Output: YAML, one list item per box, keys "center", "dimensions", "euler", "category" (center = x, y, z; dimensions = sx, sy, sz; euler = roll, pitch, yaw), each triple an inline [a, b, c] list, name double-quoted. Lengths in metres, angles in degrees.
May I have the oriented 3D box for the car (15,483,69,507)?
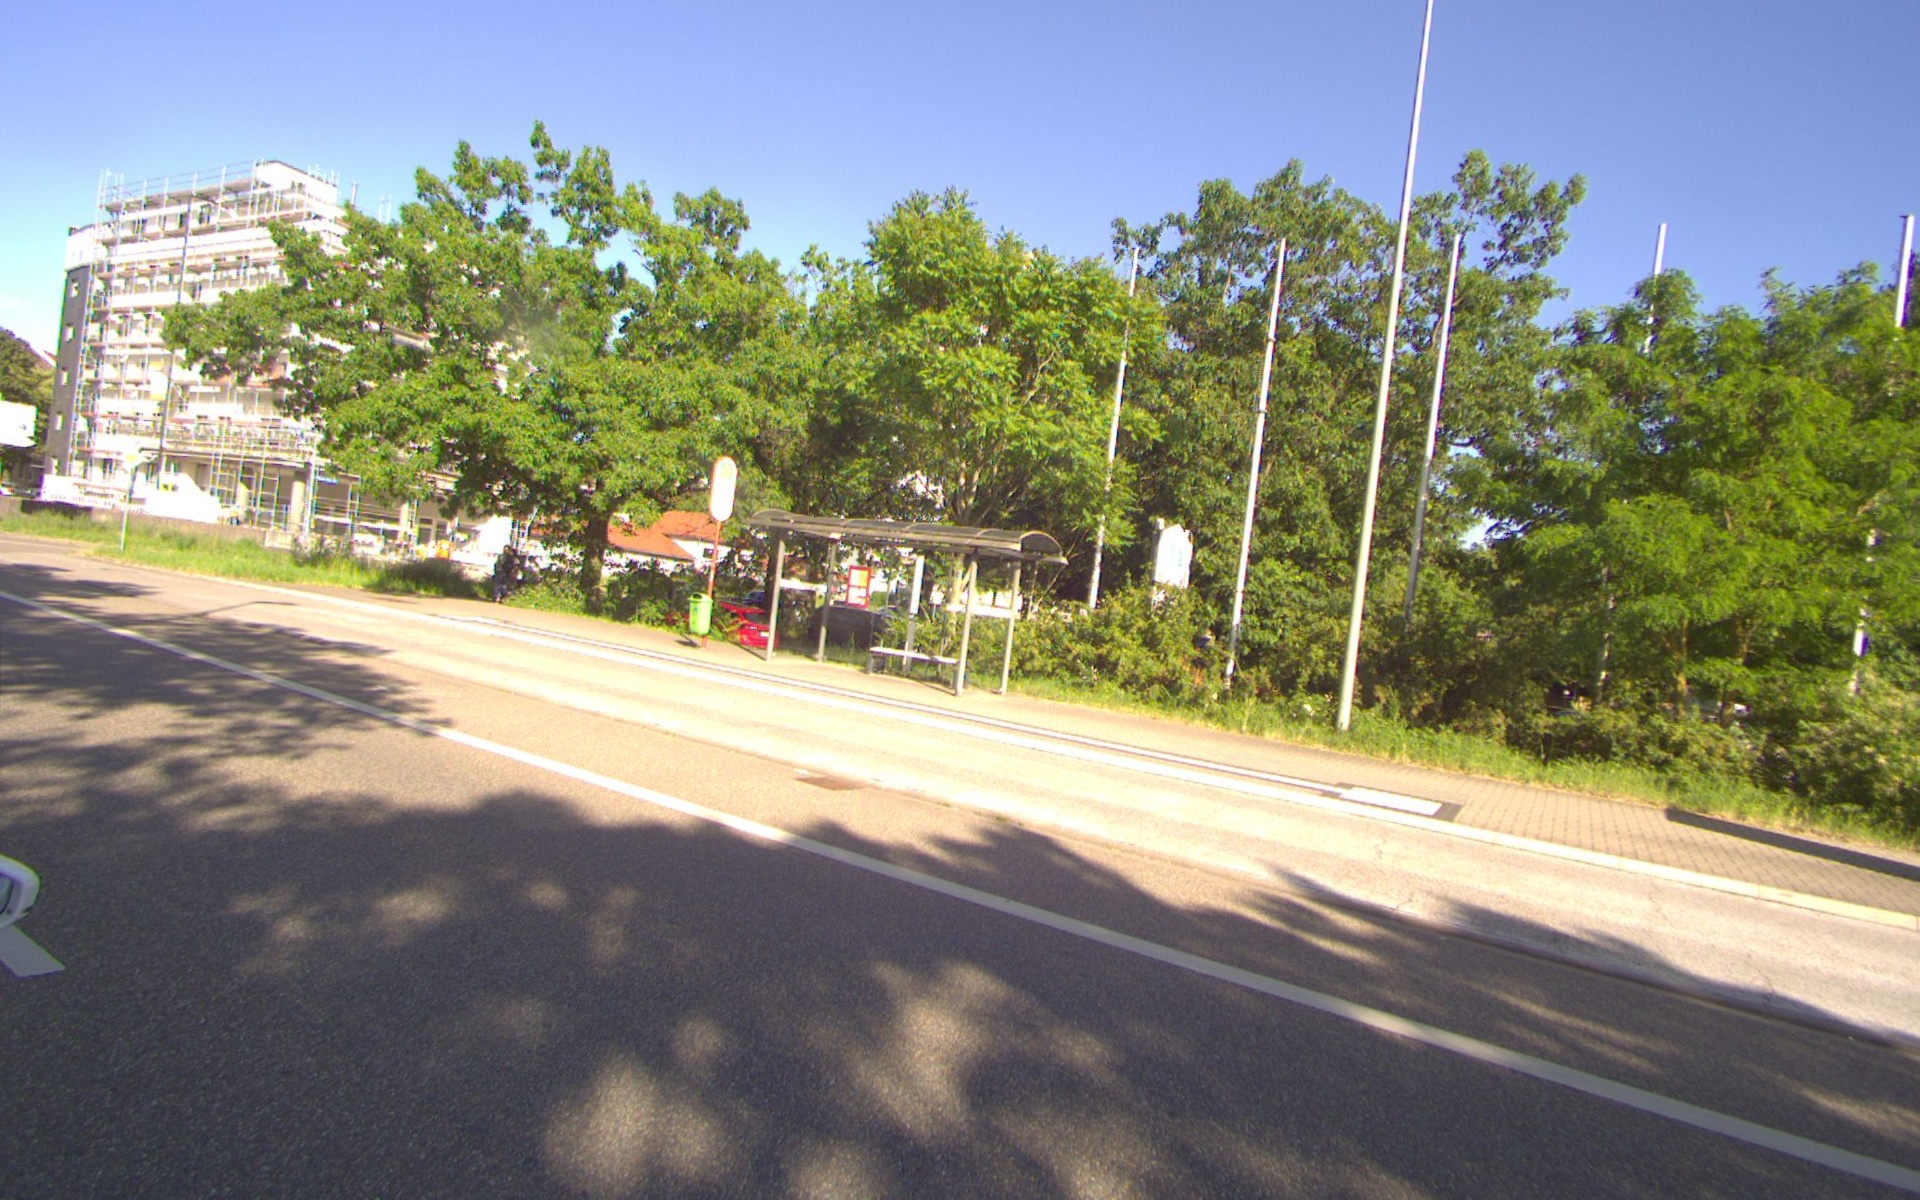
- center: [-84.089, -9.637, 92.127]
  dimensions: [3.925, 1.613, 1.911]
  euler: [7, 0, 19]
  category: "car"

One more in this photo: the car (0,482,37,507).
- center: [-66.881, -7.464, 70.575]
  dimensions: [1.802, 1.527, 3.975]
  euler: [7, 0, -24]
  category: "car"

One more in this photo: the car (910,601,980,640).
- center: [-1.028, 1.416, 68.912]
  dimensions: [4.283, 2.098, 1.995]
  euler: [7, 0, 35]
  category: "car"

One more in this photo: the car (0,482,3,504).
- center: [-64.886, -7.231, 66.092]
  dimensions: [1.759, 1.460, 3.595]
  euler: [8, 0, -25]
  category: "car"

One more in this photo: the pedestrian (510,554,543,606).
- center: [-13.515, -0.629, 31.360]
  dimensions: [0.604, 1.537, 0.528]
  euler: [7, 0, 35]
  category: "pedestrian"

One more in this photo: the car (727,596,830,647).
- center: [-7.718, 0.913, 42.761]
  dimensions: [3.938, 1.626, 1.995]
  euler: [6, -2, 35]
  category: "car"

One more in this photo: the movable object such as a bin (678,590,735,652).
- center: [-4.707, 0.396, 18.697]
  dimensions: [0.568, 1.042, 0.727]
  euler: [7, 0, 31]
  category: "movable object such as a bin"

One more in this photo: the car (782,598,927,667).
- center: [-3.785, 1.127, 35.647]
  dimensions: [4.811, 1.556, 1.996]
  euler: [10, 0, 35]
  category: "car"

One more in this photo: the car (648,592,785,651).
- center: [-6.973, 0.602, 28.721]
  dimensions: [3.846, 1.168, 1.399]
  euler: [7, 0, 31]
  category: "car"

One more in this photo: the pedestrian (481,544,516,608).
- center: [-13.064, -0.685, 28.468]
  dimensions: [0.403, 1.721, 0.603]
  euler: [8, 1, 31]
  category: "pedestrian"

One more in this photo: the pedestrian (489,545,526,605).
- center: [-13.137, -0.729, 29.202]
  dimensions: [0.542, 1.655, 0.622]
  euler: [8, 1, 32]
  category: "pedestrian"
